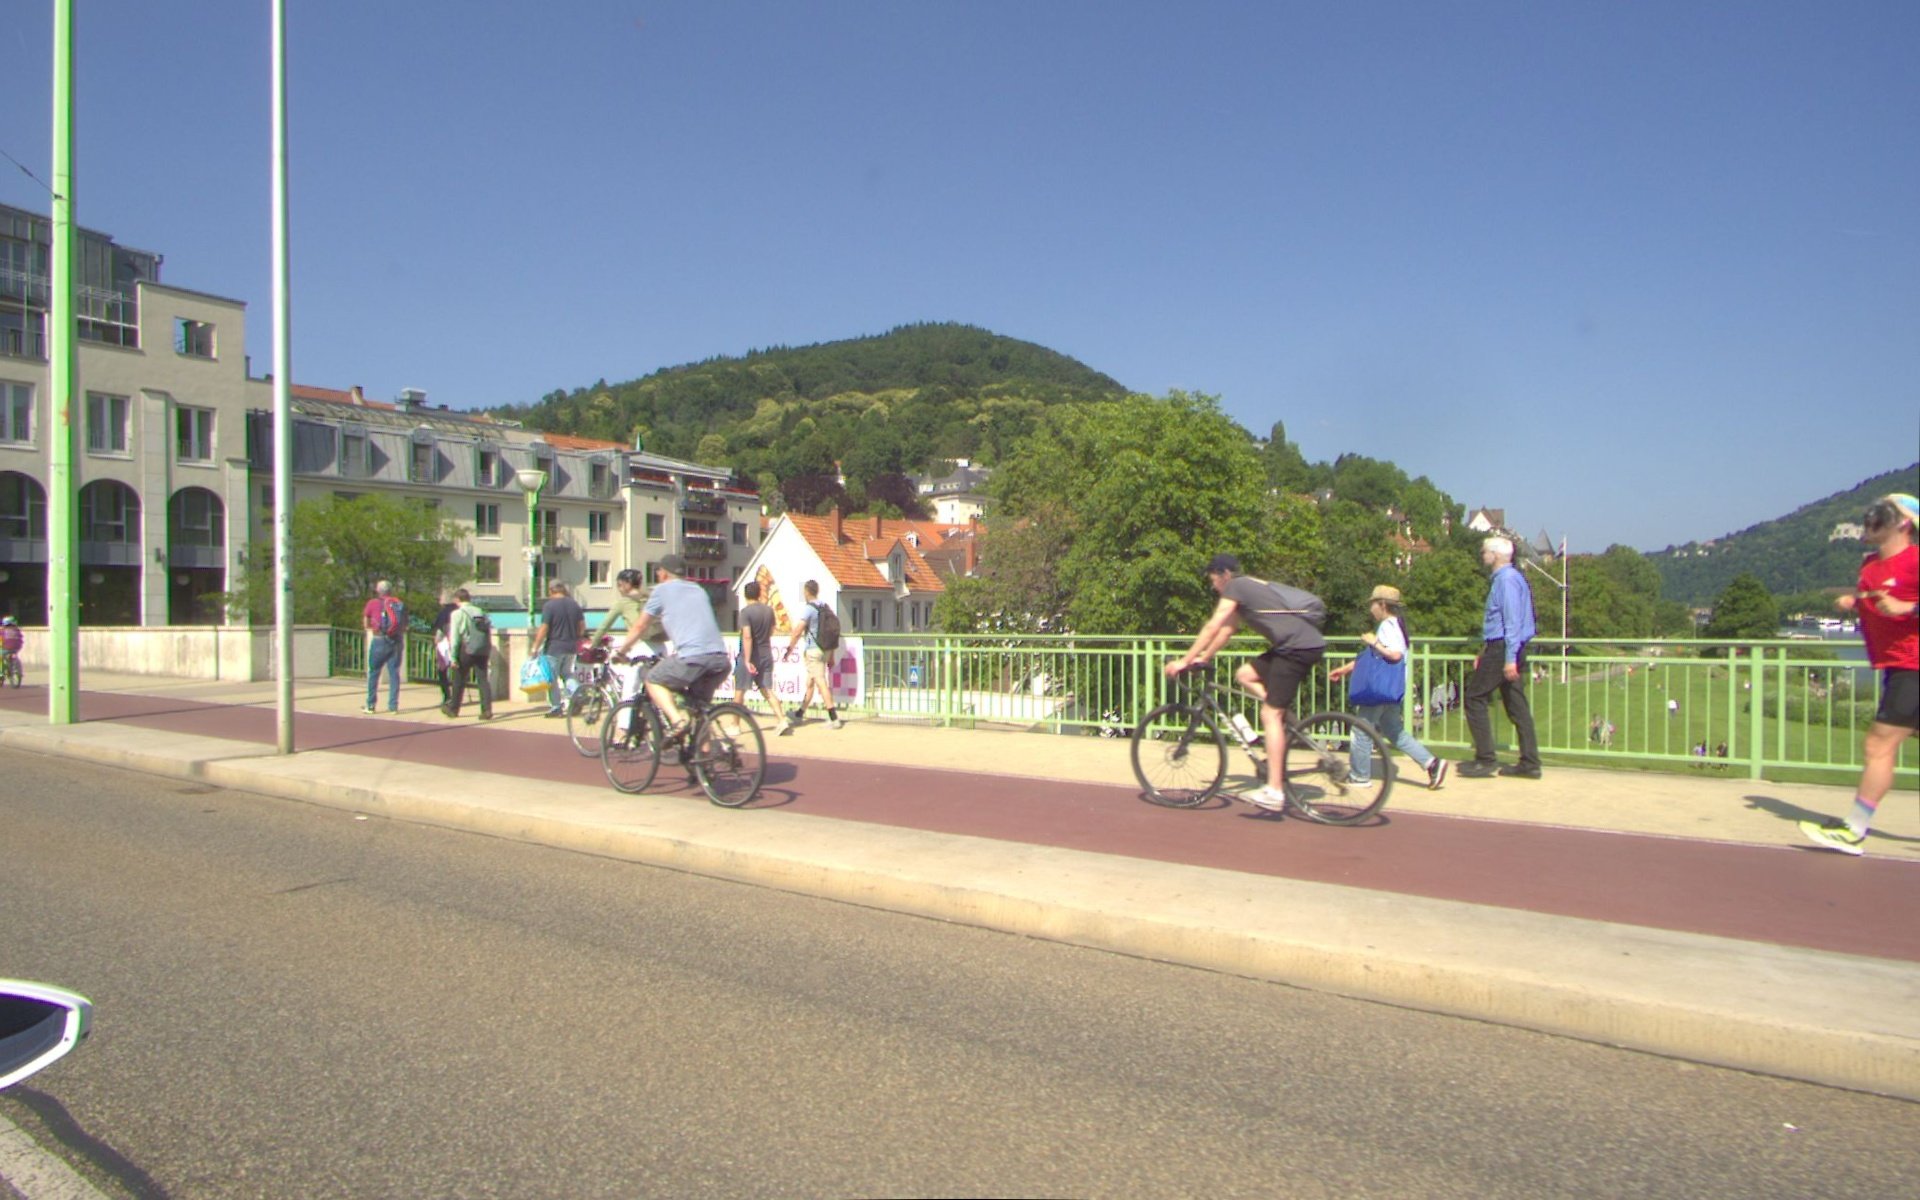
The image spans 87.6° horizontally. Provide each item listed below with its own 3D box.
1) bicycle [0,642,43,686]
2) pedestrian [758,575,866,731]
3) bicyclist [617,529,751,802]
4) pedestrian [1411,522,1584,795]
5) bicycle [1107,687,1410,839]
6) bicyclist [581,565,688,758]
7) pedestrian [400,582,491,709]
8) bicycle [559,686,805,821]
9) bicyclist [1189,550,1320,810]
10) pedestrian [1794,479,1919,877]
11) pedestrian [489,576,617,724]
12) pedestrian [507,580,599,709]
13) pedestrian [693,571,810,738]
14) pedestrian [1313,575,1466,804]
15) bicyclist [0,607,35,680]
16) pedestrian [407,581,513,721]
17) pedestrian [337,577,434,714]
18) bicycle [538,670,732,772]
[{"bbox_3d":[-18.698,1.247,19.730,1.637,0.776,0.512,-1,1,33],"label":"bicycle"},{"bbox_3d":[-1.729,0.591,11.729,1.001,1.741,0.737,0,1,32],"label":"pedestrian"},{"bbox_3d":[-1.975,0.446,7.193,0.691,1.844,0.585,0,1,30],"label":"bicyclist"},{"bbox_3d":[4.166,0.419,7.757,1.121,1.923,0.924,0,1,32],"label":"pedestrian"},{"bbox_3d":[1.912,1.005,6.511,1.804,0.776,0.593,-1,1,30],"label":"bicycle"},{"bbox_3d":[-2.953,0.536,9.094,0.691,1.672,0.585,0,1,30],"label":"bicyclist"},{"bbox_3d":[-7.557,0.646,14.718,1.001,1.801,0.737,0,2,32],"label":"pedestrian"},{"bbox_3d":[-2.035,1.063,7.246,1.838,0.776,0.593,-1,1,30],"label":"bicycle"},{"bbox_3d":[1.915,0.489,6.491,0.691,1.579,0.585,0,1,30],"label":"bicyclist"},{"bbox_3d":[5.075,0.379,5.138,1.111,1.950,0.809,0,1,32],"label":"pedestrian"},{"bbox_3d":[-5.220,0.605,12.859,1.190,1.801,0.975,0,2,32],"label":"pedestrian"},{"bbox_3d":[-5.850,0.615,14.395,1.001,1.770,0.737,0,2,32],"label":"pedestrian"},{"bbox_3d":[-2.293,0.572,11.032,1.001,1.741,0.737,0,2,32],"label":"pedestrian"},{"bbox_3d":[3.161,0.602,7.344,0.919,1.550,0.827,0,2,32],"label":"pedestrian"},{"bbox_3d":[-18.712,0.852,19.725,0.659,1.402,0.532,0,2,32],"label":"bicyclist"},{"bbox_3d":[-6.482,0.631,12.986,1.058,1.741,0.753,0,2,32],"label":"pedestrian"},{"bbox_3d":[-7.940,0.604,13.844,1.001,1.826,0.737,0,2,32],"label":"pedestrian"},{"bbox_3d":[-2.979,1.068,9.126,1.838,0.776,0.593,-1,1,30],"label":"bicycle"}]
